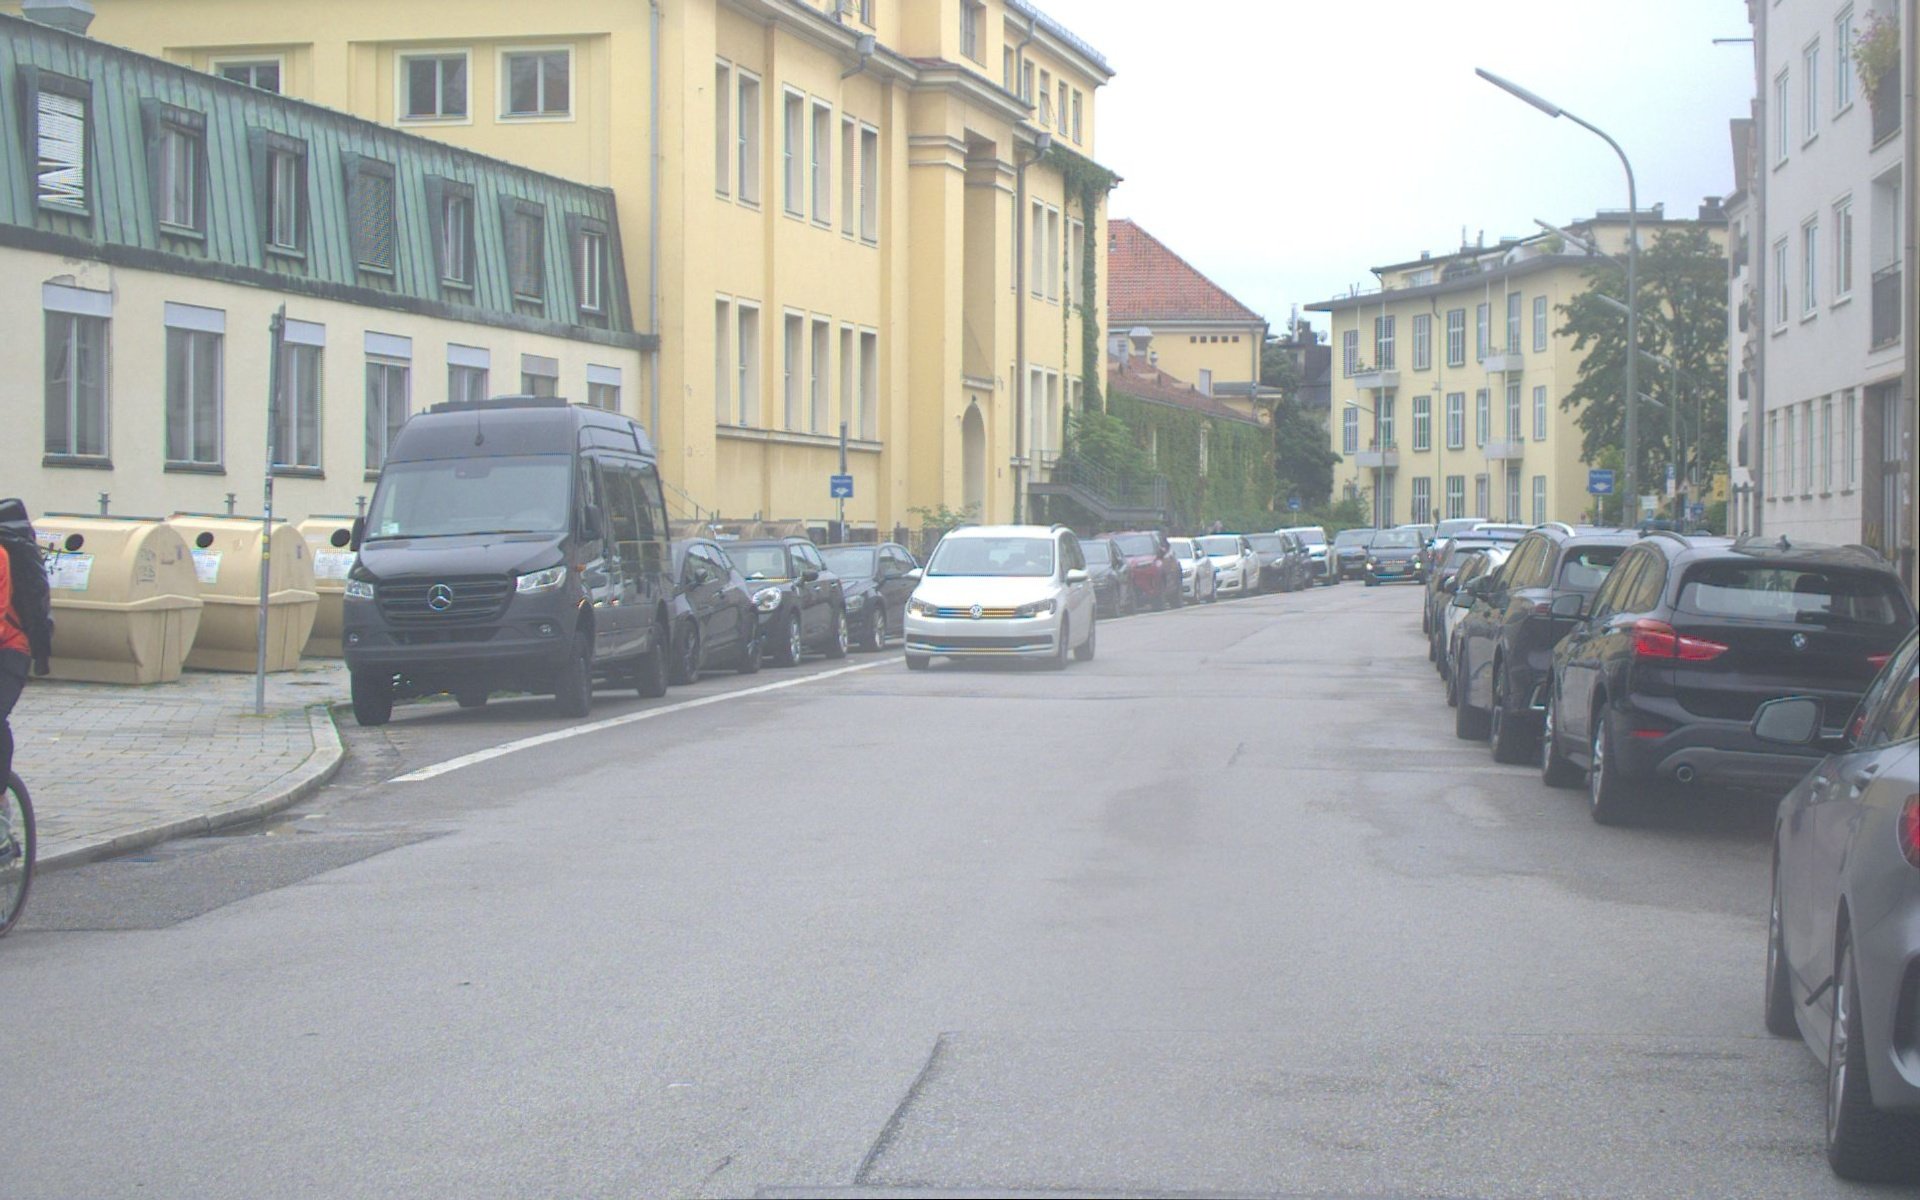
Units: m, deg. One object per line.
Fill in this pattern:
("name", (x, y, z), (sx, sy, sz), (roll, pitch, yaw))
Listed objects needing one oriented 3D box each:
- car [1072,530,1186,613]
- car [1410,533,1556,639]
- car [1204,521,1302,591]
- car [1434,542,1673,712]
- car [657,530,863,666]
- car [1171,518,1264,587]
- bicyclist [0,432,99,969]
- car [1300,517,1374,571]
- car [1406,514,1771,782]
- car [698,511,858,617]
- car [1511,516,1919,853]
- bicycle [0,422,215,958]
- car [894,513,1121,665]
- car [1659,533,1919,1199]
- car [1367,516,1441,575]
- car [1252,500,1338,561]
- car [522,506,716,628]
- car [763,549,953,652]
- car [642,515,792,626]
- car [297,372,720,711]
("car", (3.277, -0.572, 66.167), (1.698, 1.439, 3.507), (2, 3, 10))
("car", (7.570, -0.234, 50.086), (1.887, 1.405, 4.430), (2, 1, 7))
("car", (7.232, -1.108, 84.603), (1.994, 1.543, 3.999), (2, 3, 10))
("car", (5.754, 0.209, 33.825), (1.887, 1.470, 4.743), (2, 1, 5))
("car", (-2.391, -0.064, 41.934), (1.699, 1.448, 3.740), (2, 3, 9))
("car", (5.941, -1.111, 79.046), (1.698, 1.439, 3.507), (2, 3, 11))
("bicyclist", (-3.913, 0.381, 13.273), (0.767, 2.006, 0.767), (-3, 1, 13))
("car", (11.786, -1.766, 107.350), (1.994, 1.543, 3.999), (2, 3, 10))
("car", (4.362, 0.251, 24.552), (1.964, 1.596, 4.671), (2, 2, 3))
("car", (-3.066, -0.648, 58.680), (1.720, 1.655, 3.746), (2, 3, 13))
("car", (4.318, 0.383, 19.697), (1.830, 1.596, 4.266), (2, 2, 3))
("bicycle", (-3.891, 0.332, 13.340), (0.748, 2.006, 2.846), (-2, 2, 13))
("car", (0.621, -0.108, 39.774), (2.026, 1.616, 4.504), (-1, 0, 8))
("car", (2.990, 0.622, 8.899), (1.925, 1.507, 4.391), (2, 2, 7))
("car", (11.777, -1.455, 91.017), (1.698, 1.439, 3.507), (2, 3, 10))
("car", (9.176, -1.920, 93.930), (1.994, 1.543, 3.999), (2, 3, 10))
("car", (-5.032, -0.521, 51.127), (1.720, 1.655, 3.746), (2, 3, 13))
("car", (-1.336, -0.022, 46.469), (1.529, 1.197, 3.739), (2, 3, 15))
("car", (-3.892, -0.496, 55.408), (1.606, 1.655, 2.807), (2, 3, 13))
("car", (-3.857, -0.492, 30.715), (2.422, 2.706, 5.952), (-1, 0, 6))
